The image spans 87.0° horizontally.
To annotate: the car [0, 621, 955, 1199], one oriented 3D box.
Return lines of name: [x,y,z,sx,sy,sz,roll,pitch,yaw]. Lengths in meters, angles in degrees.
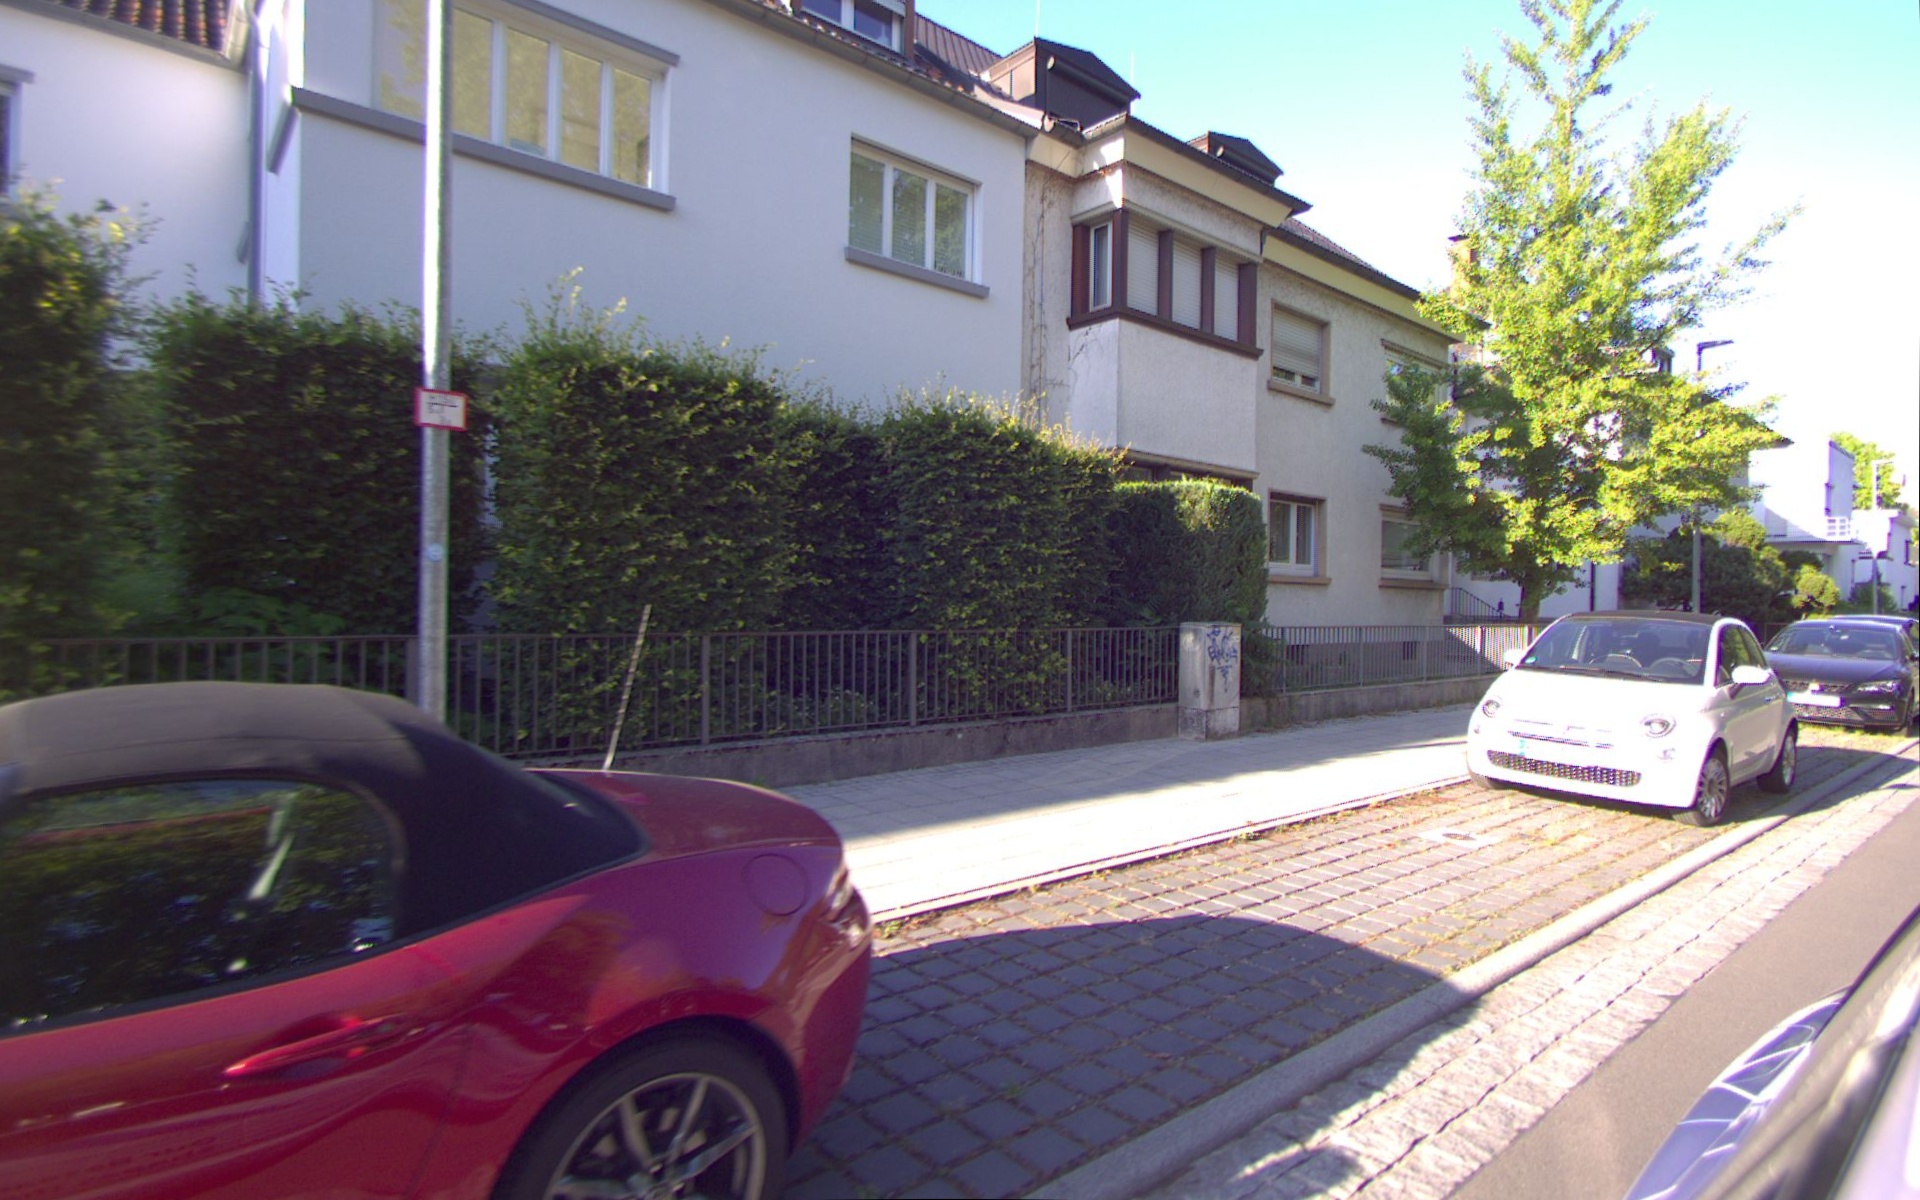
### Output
car: [-2.007,0.738,1.798,3.812,1.273,1.702,0,1,-41]

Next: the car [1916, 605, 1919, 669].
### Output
car: [25.002,0.925,24.913,3.764,1.554,1.665,0,1,-39]

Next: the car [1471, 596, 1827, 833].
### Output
car: [5.717,0.760,8.259,3.430,1.498,1.508,1,1,-40]

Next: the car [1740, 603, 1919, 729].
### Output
car: [12.491,0.824,14.203,3.986,1.499,1.744,1,-1,-42]

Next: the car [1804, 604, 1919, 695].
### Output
car: [16.998,0.850,18.575,3.696,1.499,1.665,1,-1,-39]
